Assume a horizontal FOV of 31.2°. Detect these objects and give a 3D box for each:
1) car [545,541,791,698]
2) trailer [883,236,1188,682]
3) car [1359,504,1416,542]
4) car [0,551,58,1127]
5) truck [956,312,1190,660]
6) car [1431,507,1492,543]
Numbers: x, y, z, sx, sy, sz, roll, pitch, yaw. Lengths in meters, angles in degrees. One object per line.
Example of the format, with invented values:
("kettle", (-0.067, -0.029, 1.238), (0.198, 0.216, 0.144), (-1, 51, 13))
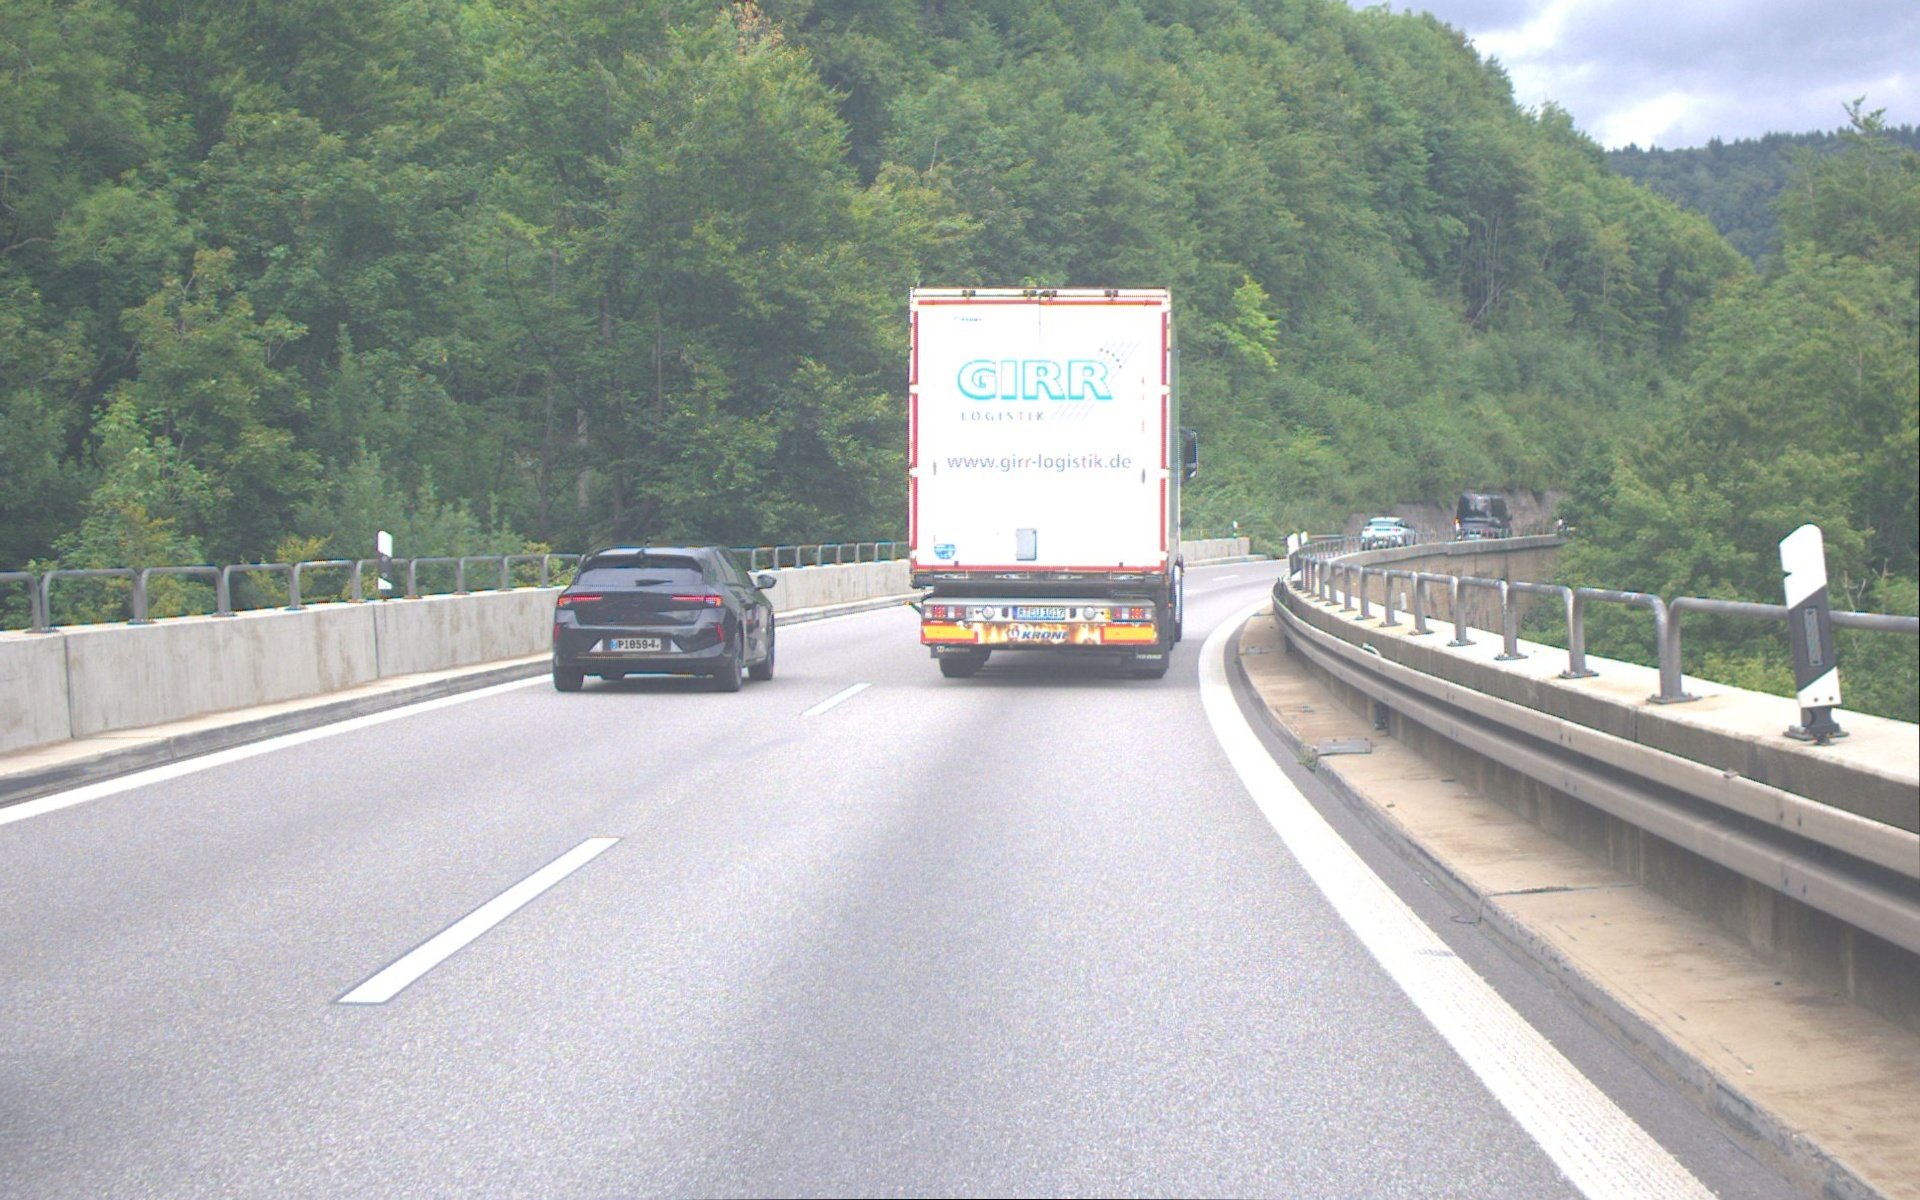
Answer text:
("car", (-2.824, 0.150, 34.211), (1.773, 1.456, 4.581), (0, 1, 4))
("trailer", (1.135, -1.403, 39.502), (2.814, 4.288, 12.243), (-1, 0, 4))
("car", (18.953, -3.395, 152.364), (1.995, 1.560, 3.997), (0, 0, 15))
("car", (-3.414, 0.639, 7.047), (1.845, 1.476, 4.628), (1, 1, 1))
("truck", (1.608, -1.432, 45.948), (2.814, 4.288, 6.258), (-1, 0, 4))
("car", (22.877, -3.413, 156.716), (1.995, 1.560, 3.996), (0, 0, 19))
